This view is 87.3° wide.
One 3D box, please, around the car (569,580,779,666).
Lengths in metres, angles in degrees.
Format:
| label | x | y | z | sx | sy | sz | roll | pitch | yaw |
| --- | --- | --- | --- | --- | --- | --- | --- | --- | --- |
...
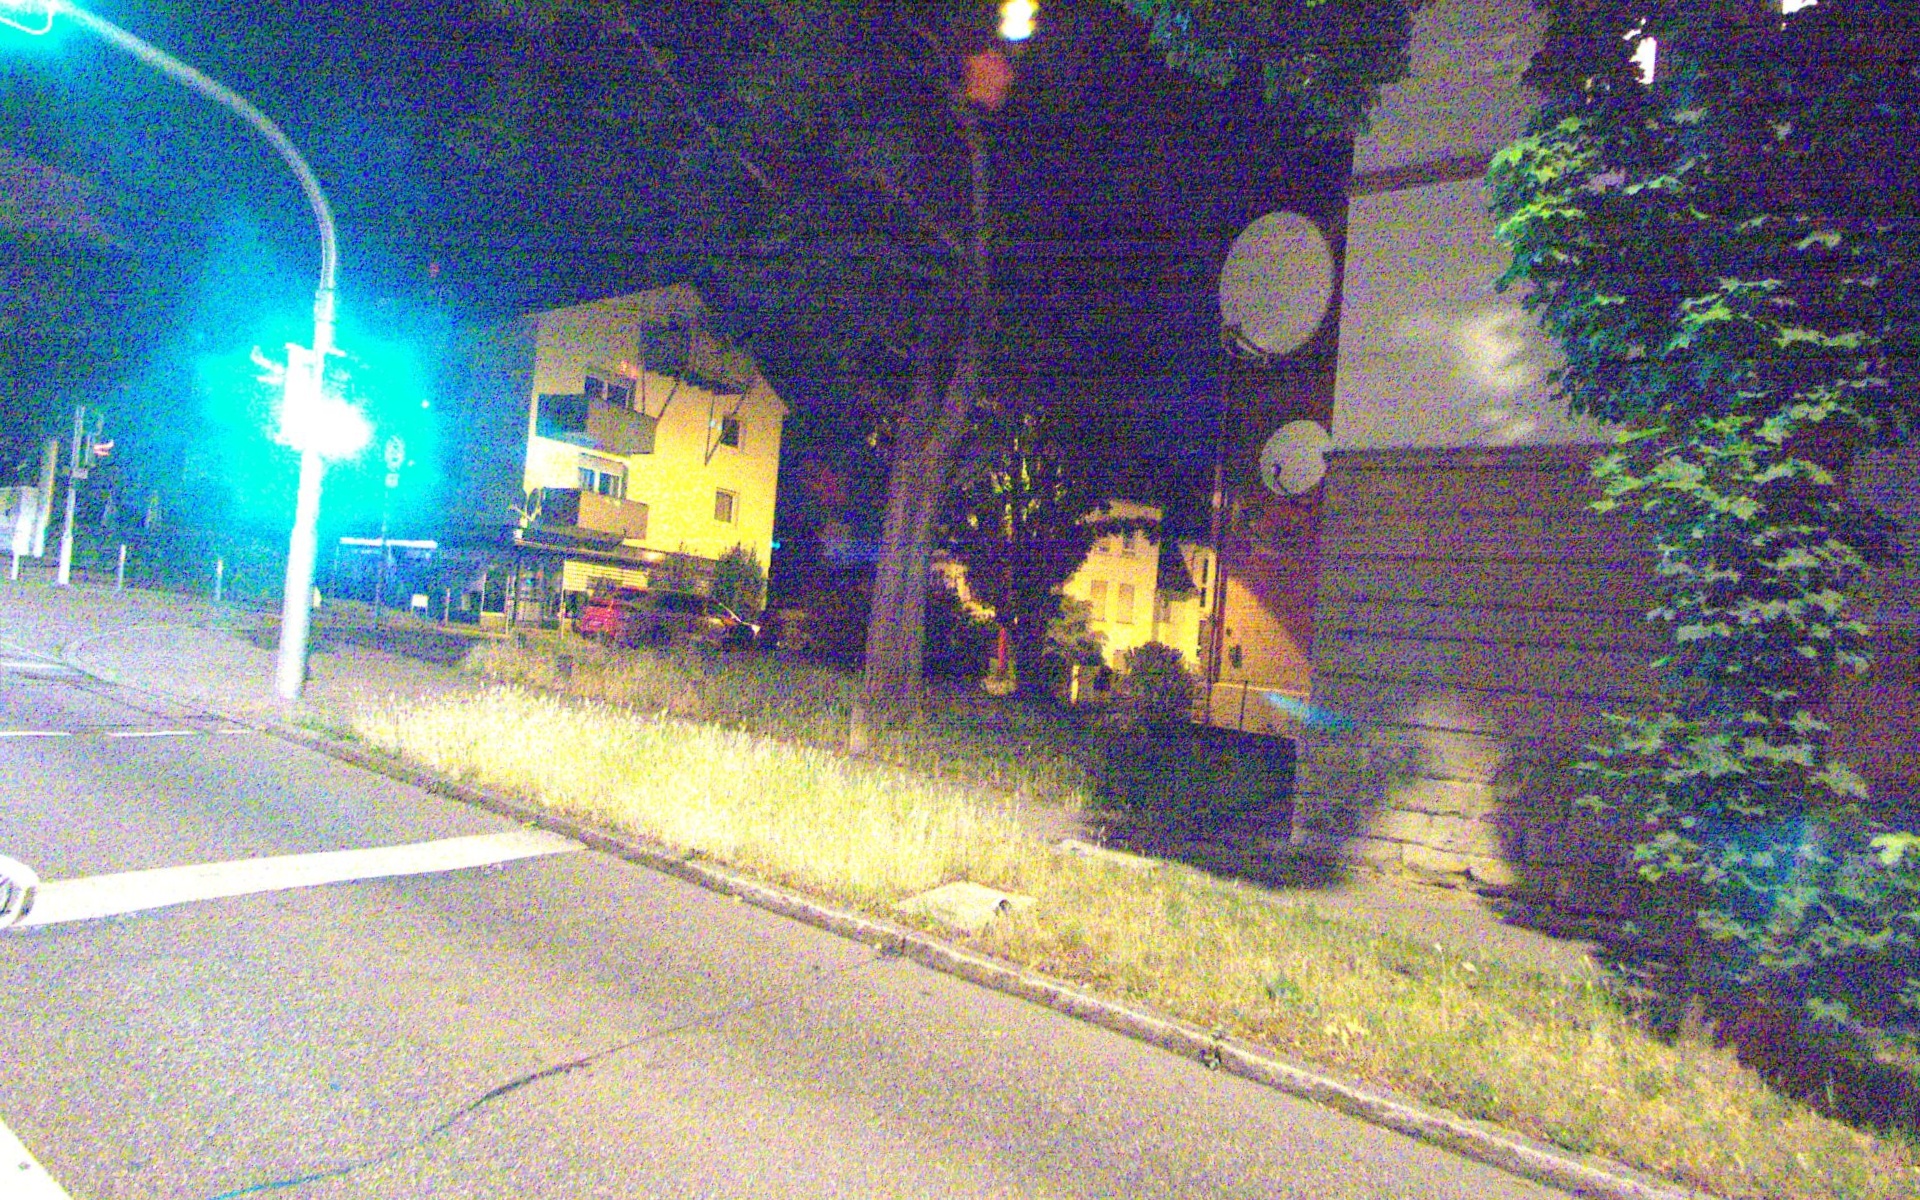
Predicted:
| label | x | y | z | sx | sy | sz | roll | pitch | yaw |
| --- | --- | --- | --- | --- | --- | --- | --- | --- | --- |
| car | -6.503 | 0.581 | 23.293 | 1.778 | 1.577 | 4.366 | 3 | -3 | 38 |
